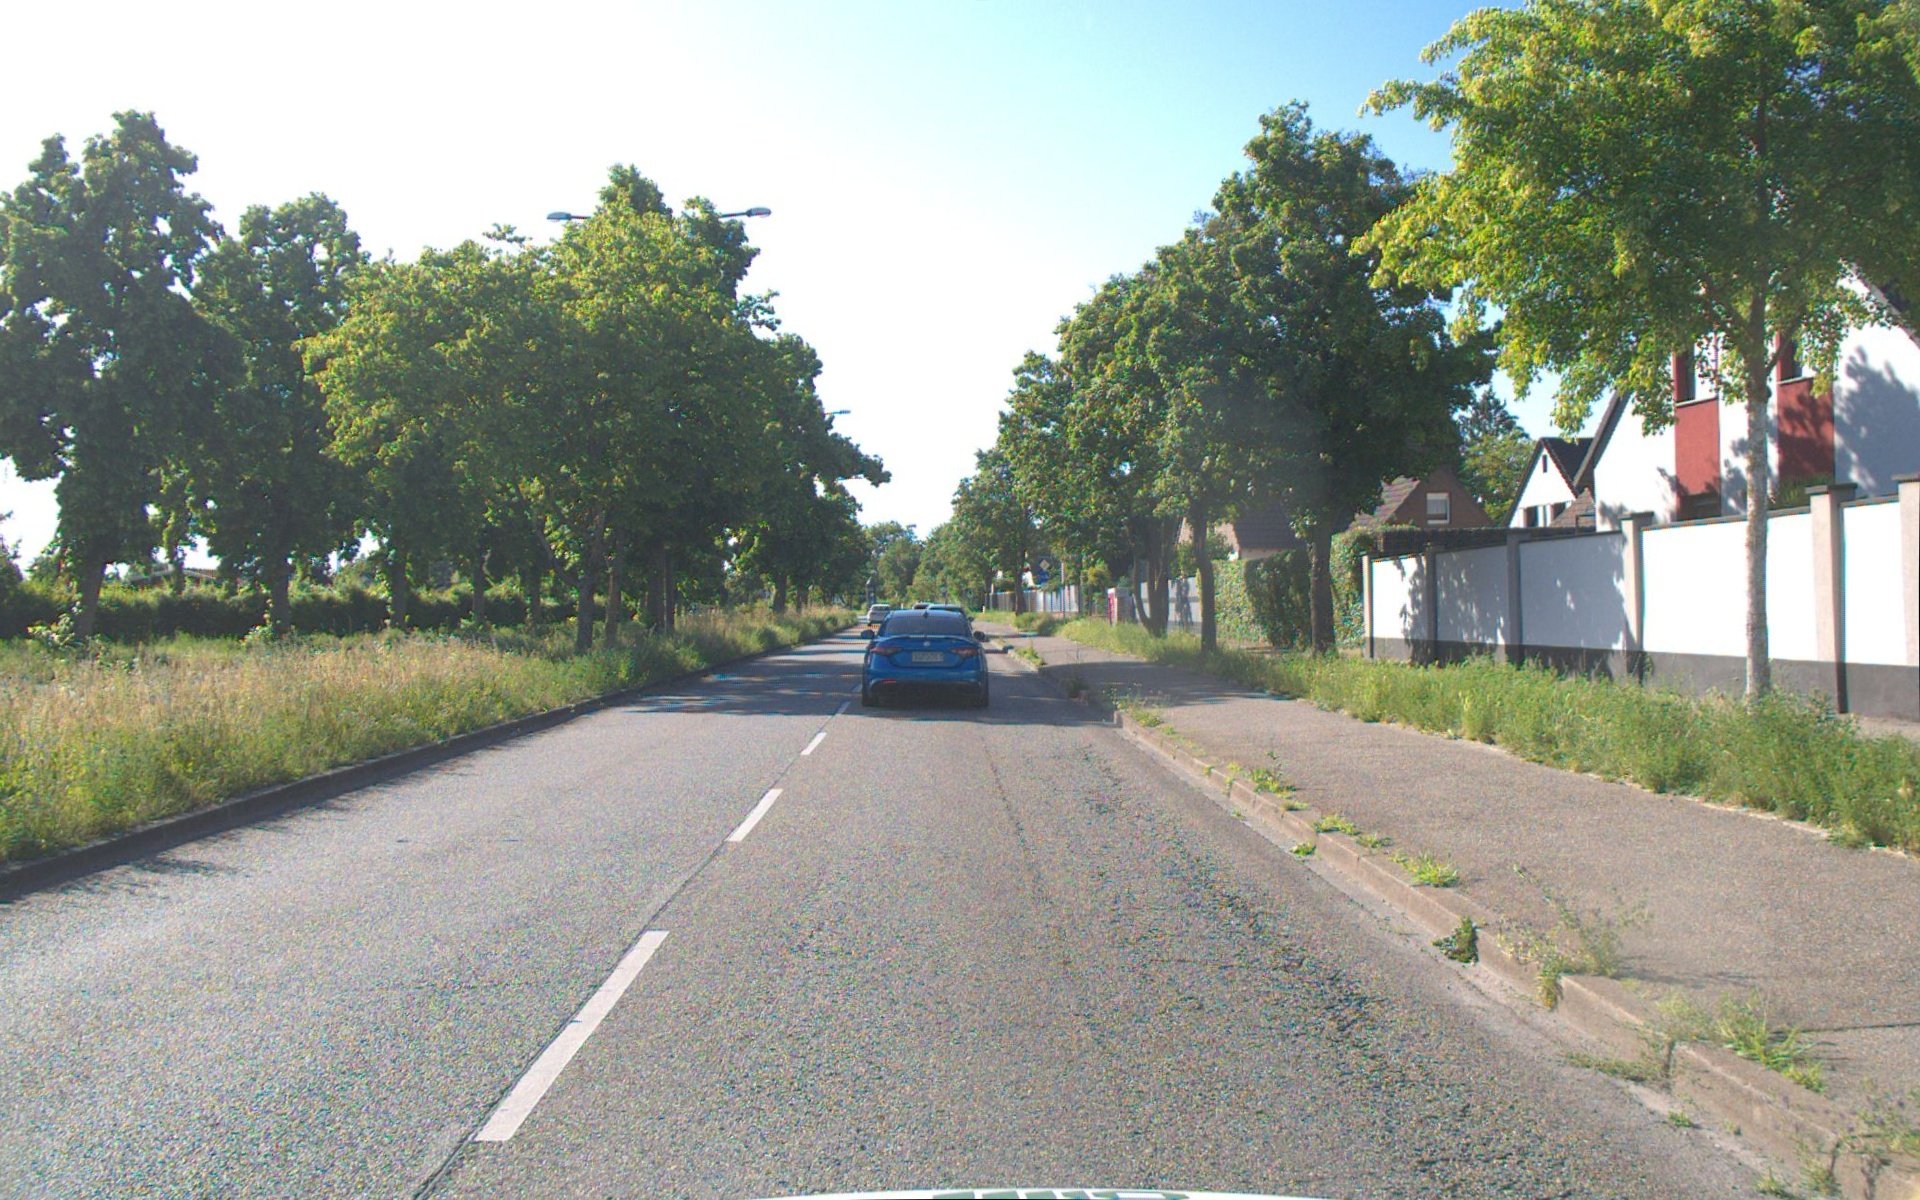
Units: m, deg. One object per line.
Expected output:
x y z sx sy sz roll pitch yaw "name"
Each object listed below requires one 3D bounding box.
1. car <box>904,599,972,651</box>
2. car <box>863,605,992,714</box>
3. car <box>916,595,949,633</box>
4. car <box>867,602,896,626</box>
-0.756 0.791 53.823 1.878 1.607 4.177 -1 0 -5 "car"
-0.458 0.883 25.477 1.801 1.500 4.184 1 -1 0 "car"
-1.548 0.747 92.107 1.756 2.049 3.999 0 0 -2 "car"
-5.252 0.946 110.564 1.877 1.539 4.065 -1 0 -3 "car"
